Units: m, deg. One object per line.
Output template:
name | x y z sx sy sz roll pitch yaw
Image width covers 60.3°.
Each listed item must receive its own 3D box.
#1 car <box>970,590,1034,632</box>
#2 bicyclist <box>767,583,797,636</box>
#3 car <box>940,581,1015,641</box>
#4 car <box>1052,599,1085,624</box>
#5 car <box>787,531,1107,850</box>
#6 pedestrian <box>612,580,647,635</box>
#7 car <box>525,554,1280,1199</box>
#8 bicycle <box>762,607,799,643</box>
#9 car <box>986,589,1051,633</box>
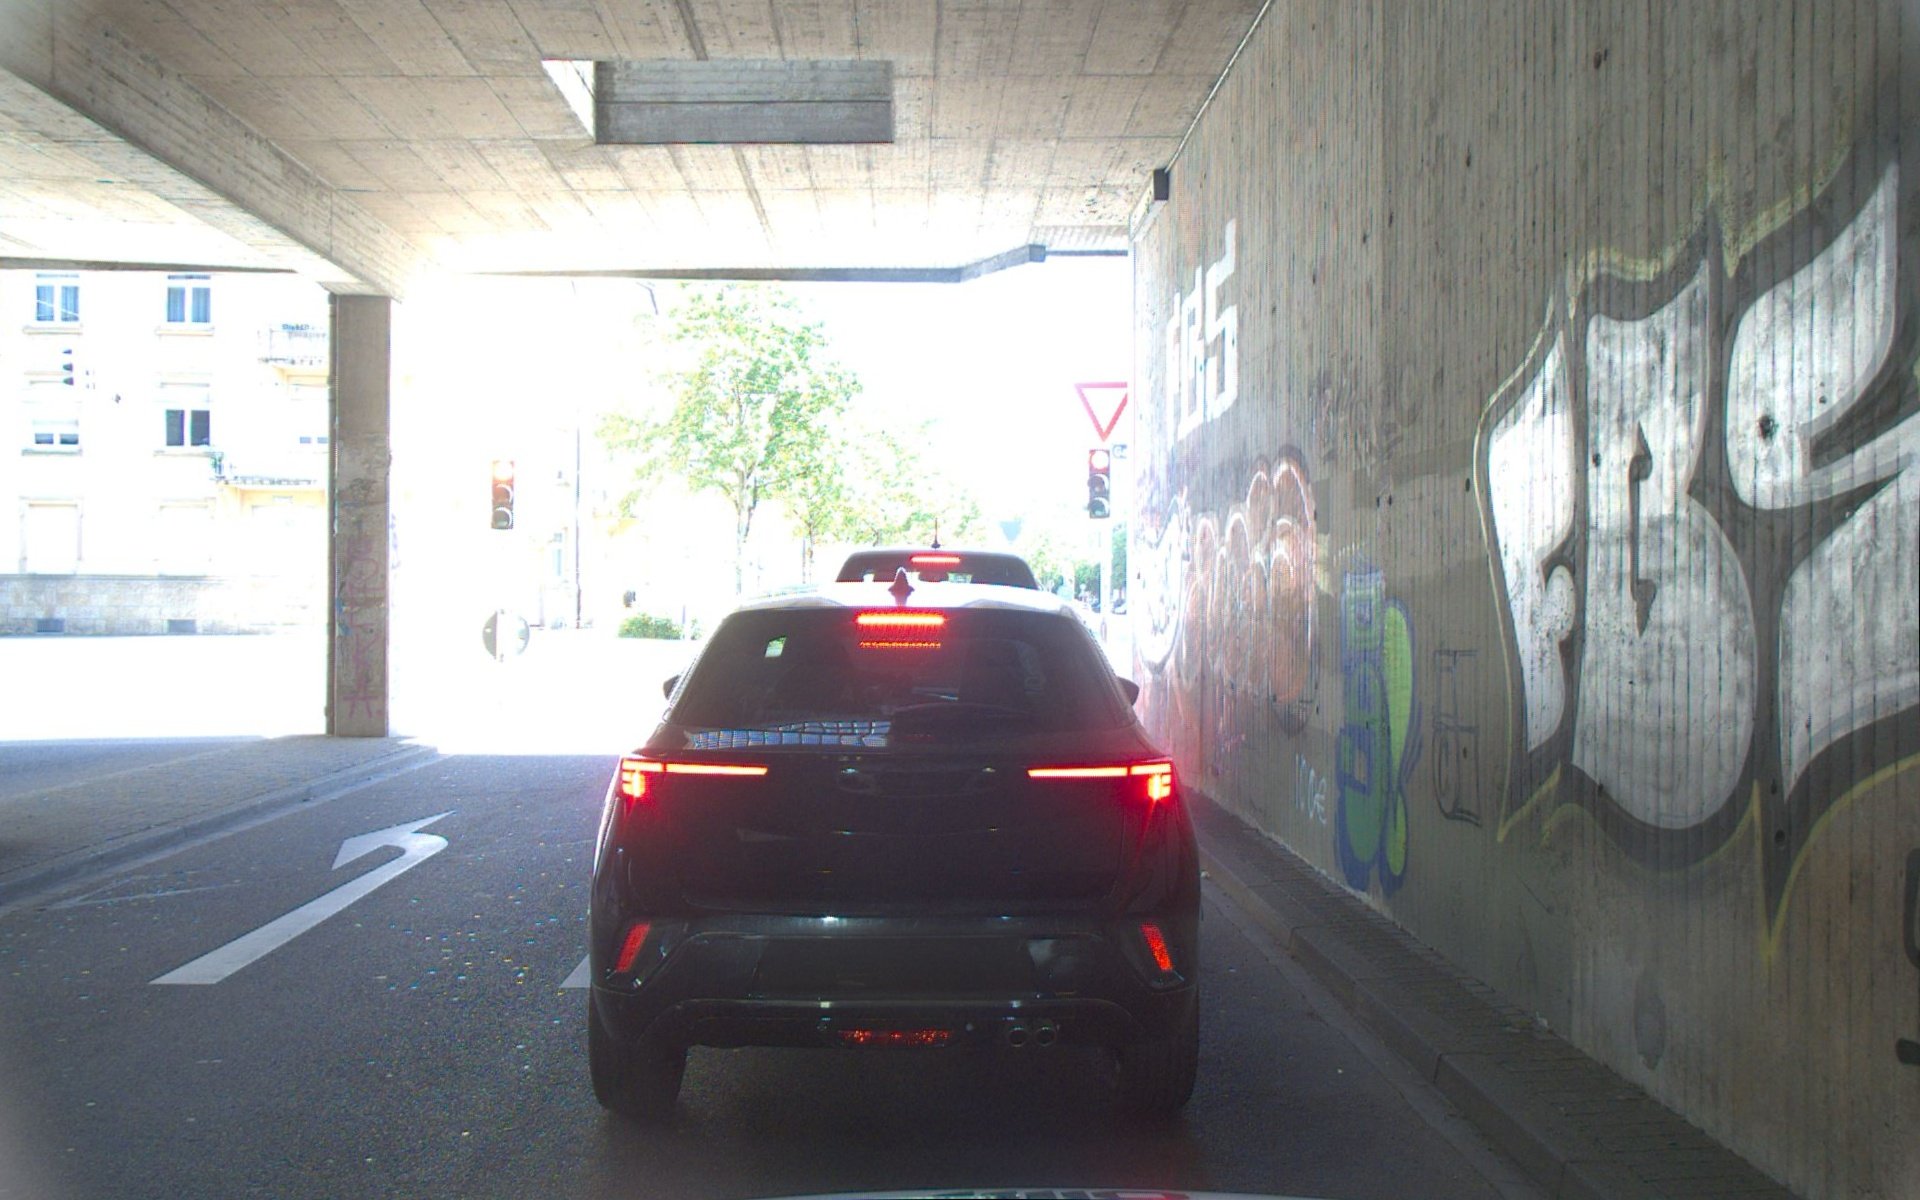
car | 1.615 0.441 62.197 1.926 1.523 3.899 0 -1 8
bicyclist | -5.545 0.303 51.437 0.713 1.609 0.815 1 -1 9
car | 0.489 0.333 44.160 1.927 1.523 3.896 0 -1 1
car | 7.642 0.812 116.215 1.951 1.691 4.003 1 0 8
car | -0.104 0.526 11.866 1.906 1.892 3.963 0 0 -1
pedestrian | -12.333 0.272 61.787 0.971 2.049 1.089 0 0 7
car | -0.164 0.664 6.041 1.844 1.565 3.963 0 0 -1
bicycle | -5.564 0.768 51.404 0.716 1.086 1.690 1 0 9
car | 2.461 0.484 69.019 2.173 1.749 4.463 0 -1 9
